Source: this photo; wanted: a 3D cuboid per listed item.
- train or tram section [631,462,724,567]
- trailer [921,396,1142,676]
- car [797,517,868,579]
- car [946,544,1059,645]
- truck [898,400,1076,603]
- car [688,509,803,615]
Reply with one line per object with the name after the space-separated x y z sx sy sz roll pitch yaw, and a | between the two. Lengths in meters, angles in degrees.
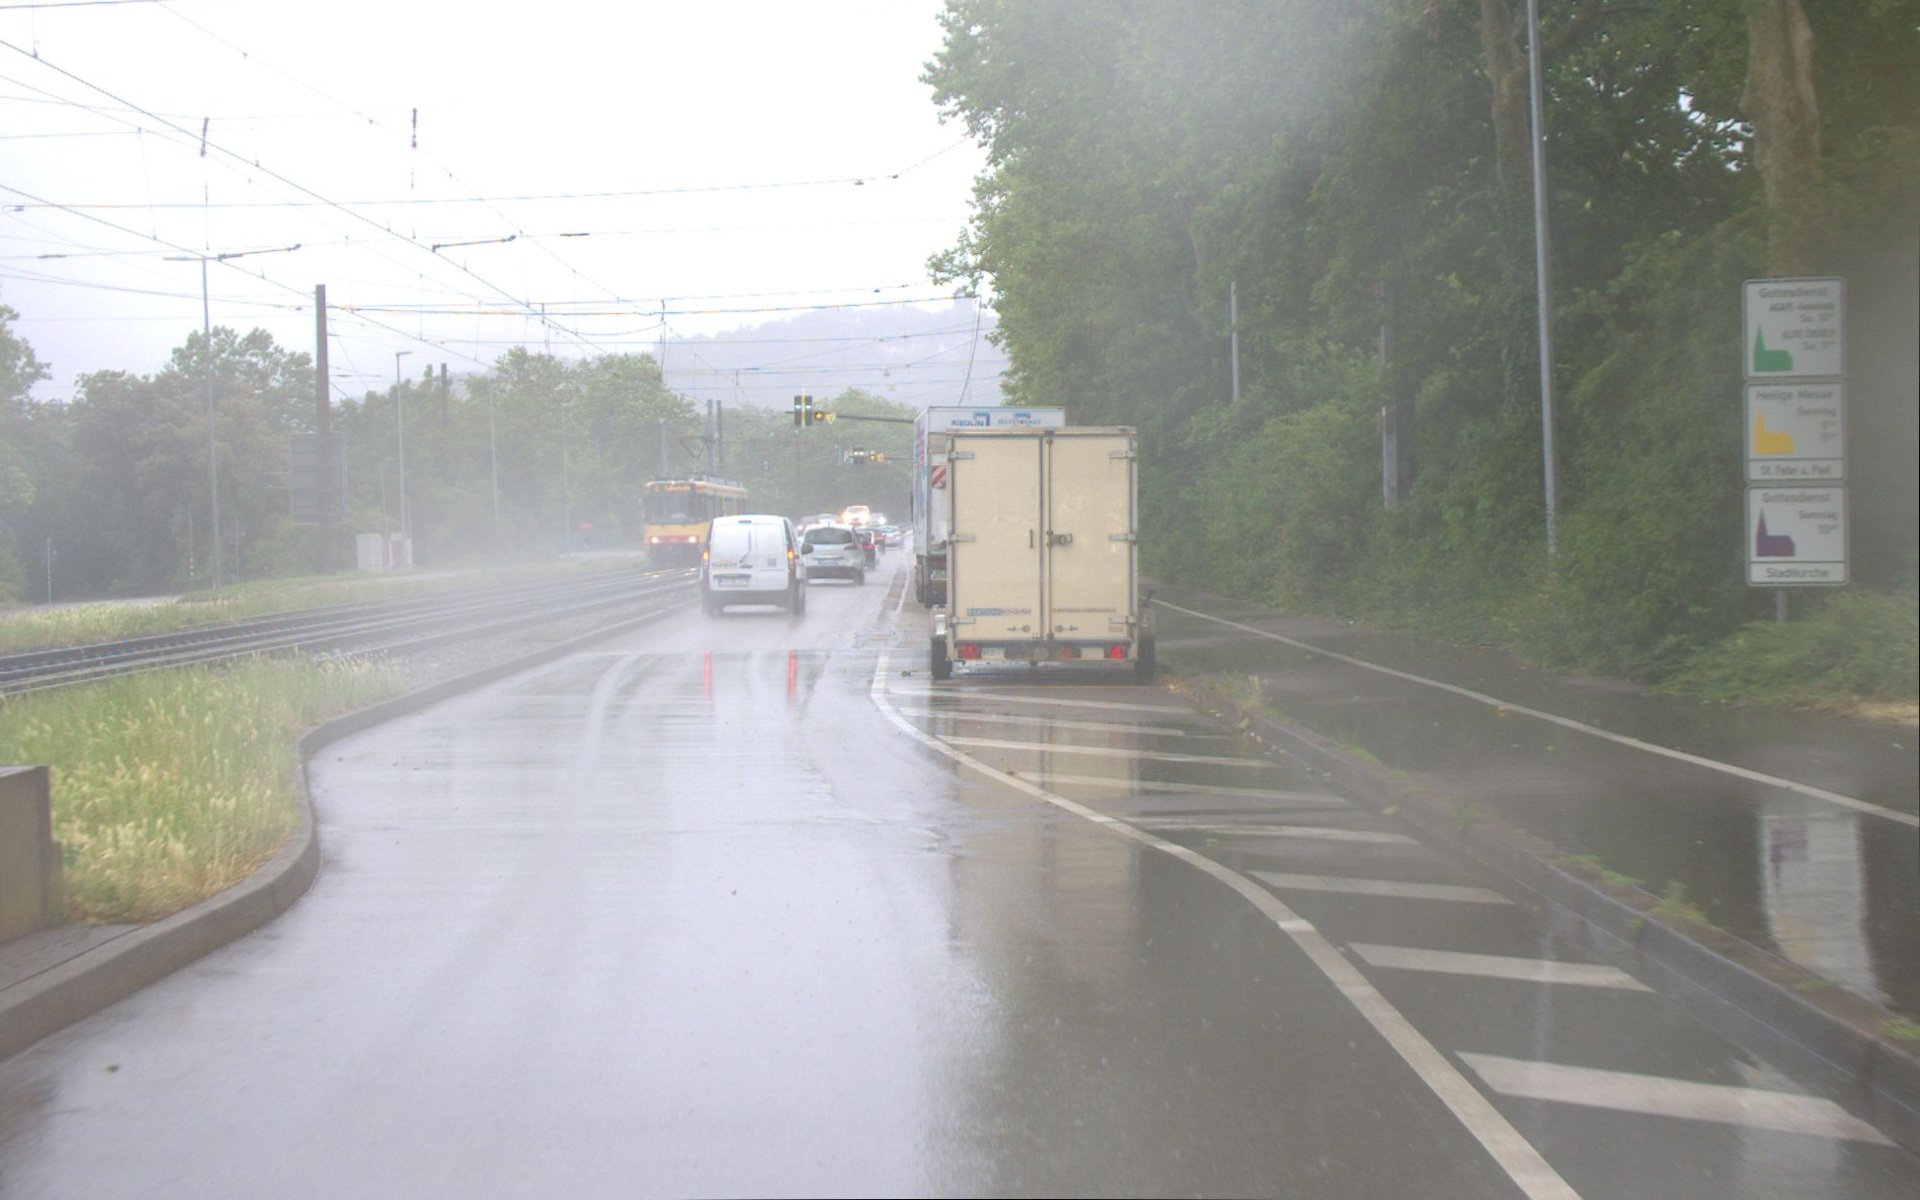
-11.652 -3.542 142.796 2.806 4.135 13.020 -1 1 0 | train or tram section
0.798 -0.659 36.871 2.166 2.748 5.676 -1 1 2 | trailer
-3.439 -1.403 93.219 1.786 1.637 3.968 -1 1 -1 | car
0.713 -0.114 55.121 1.713 1.524 4.000 -1 1 2 | car
0.401 -1.857 68.022 2.775 3.691 9.854 -1 1 -4 | truck
-3.934 -0.702 62.502 1.993 1.842 4.001 -1 1 -4 | car
